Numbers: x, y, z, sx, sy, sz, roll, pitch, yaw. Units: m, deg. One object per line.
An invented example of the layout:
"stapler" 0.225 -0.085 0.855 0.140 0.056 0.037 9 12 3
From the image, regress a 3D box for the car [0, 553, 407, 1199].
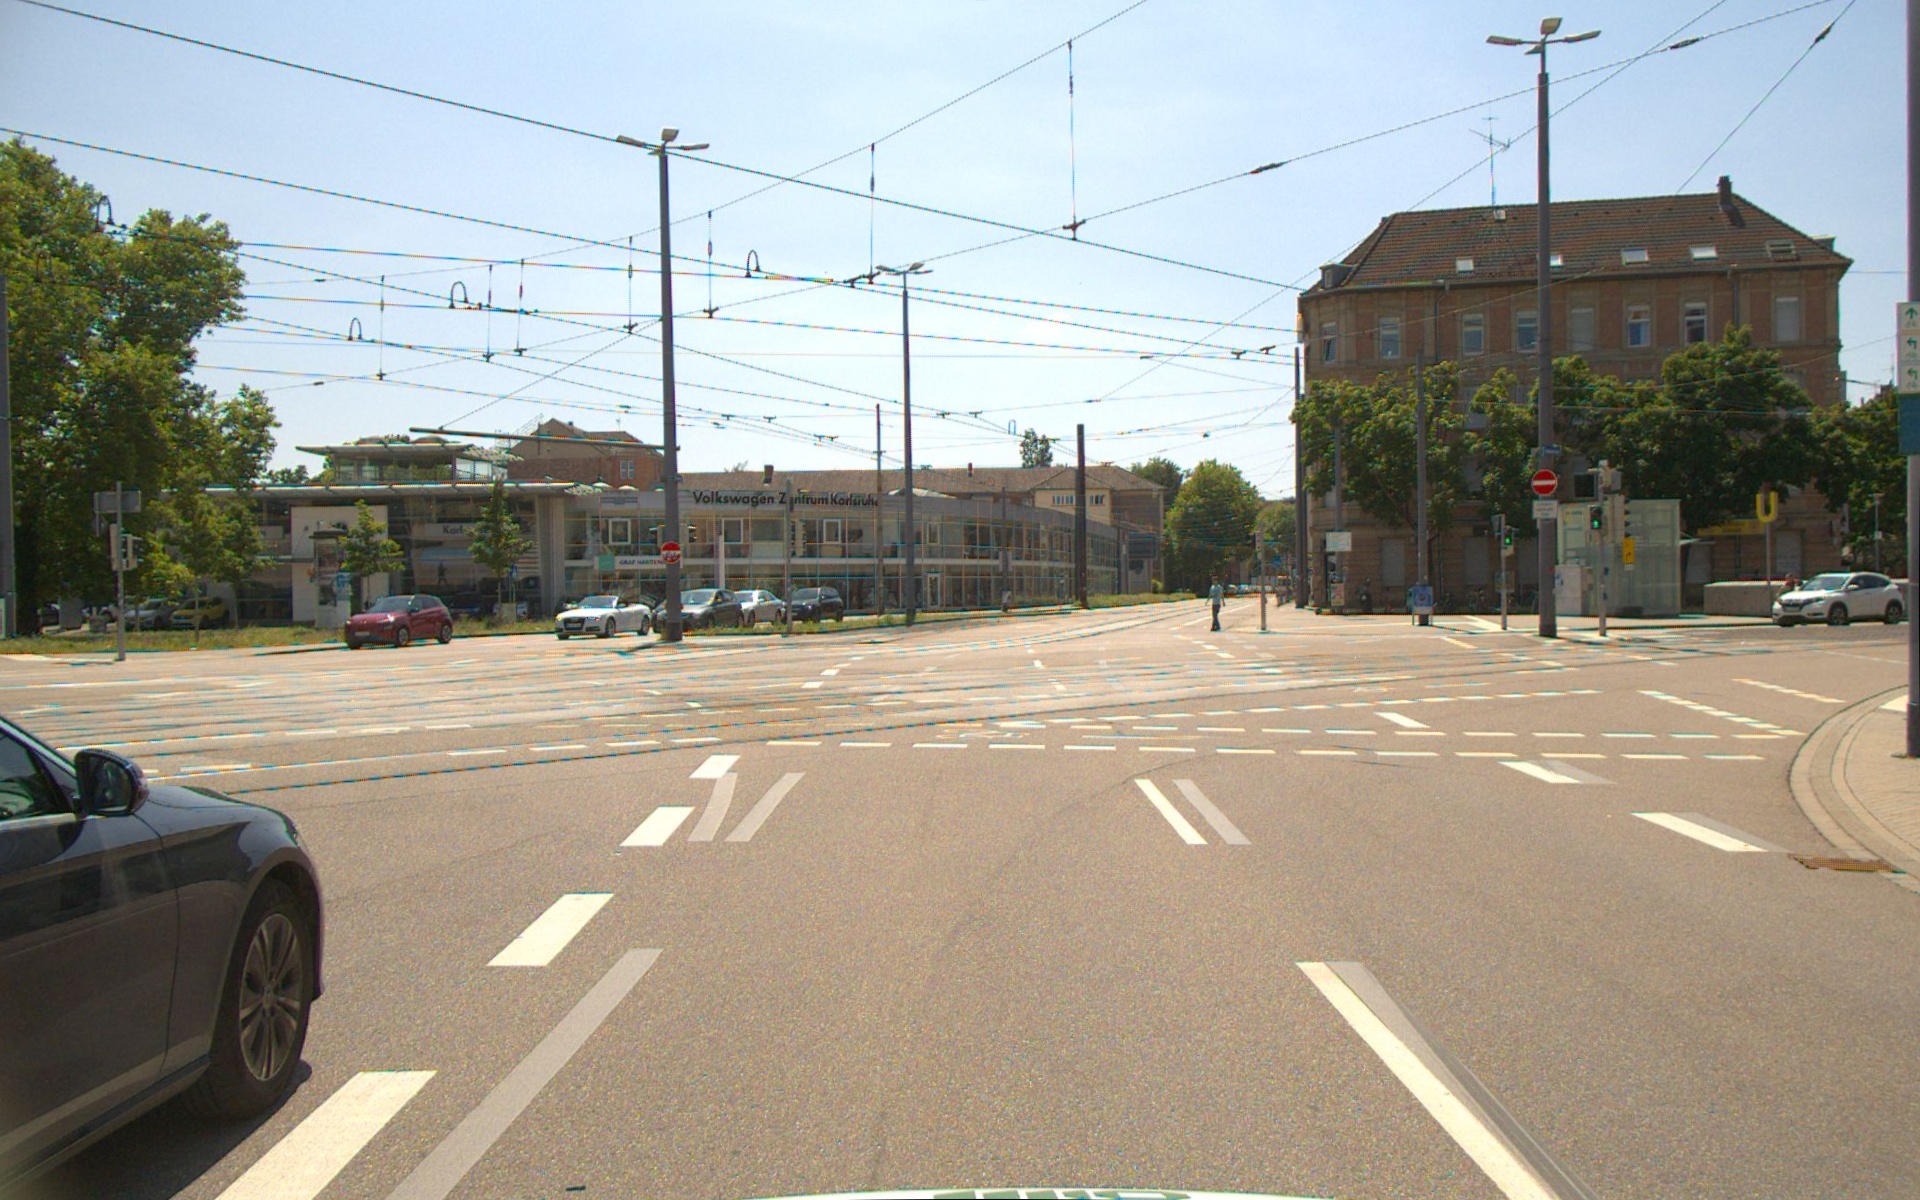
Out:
"car" -2.724 0.734 2.990 1.760 1.669 4.805 1 0 1

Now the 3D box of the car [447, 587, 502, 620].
"car" -26.354 0.198 89.919 1.882 1.737 3.998 1 -1 -2

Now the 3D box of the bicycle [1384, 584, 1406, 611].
"bicycle" 18.620 -0.111 70.823 0.539 1.139 1.821 -1 0 4

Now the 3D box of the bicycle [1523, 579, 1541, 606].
"bicycle" 24.495 -0.329 70.836 0.539 1.139 1.931 -1 0 13

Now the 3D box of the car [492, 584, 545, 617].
"car" -24.042 0.041 90.198 1.882 1.737 3.998 1 -1 -2

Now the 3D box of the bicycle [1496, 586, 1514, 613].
"bicycle" 23.337 -0.028 70.855 0.539 1.139 1.872 -1 0 13

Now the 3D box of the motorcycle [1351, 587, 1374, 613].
"motorcycle" 17.269 0.002 70.961 0.568 1.093 1.946 -1 0 1

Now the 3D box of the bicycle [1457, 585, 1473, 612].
"bicycle" 21.484 -0.064 70.407 0.539 1.139 1.822 -1 0 13

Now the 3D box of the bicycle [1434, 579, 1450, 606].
"bicycle" 20.588 -0.321 70.665 0.539 1.139 1.822 -1 0 13

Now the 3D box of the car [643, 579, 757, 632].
"car" -8.594 0.166 55.147 1.951 1.666 4.850 -1 0 14

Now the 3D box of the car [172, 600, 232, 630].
"car" -41.432 0.809 90.491 1.733 1.536 4.320 -1 0 -7

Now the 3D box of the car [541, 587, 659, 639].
"car" -11.831 0.383 54.703 2.032 1.607 4.850 -1 0 11

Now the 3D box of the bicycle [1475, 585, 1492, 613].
"bicycle" 22.286 -0.051 70.432 0.539 1.139 1.891 -1 0 13

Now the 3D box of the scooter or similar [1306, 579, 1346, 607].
"scooter or similar" 16.304 -0.324 73.682 1.767 1.202 0.594 -1 0 -29

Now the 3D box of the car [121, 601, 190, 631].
"car" -44.054 0.852 90.669 1.731 1.536 4.325 -1 0 -2

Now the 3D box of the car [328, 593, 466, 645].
"car" -17.540 0.568 51.802 1.951 1.491 4.850 -1 0 11

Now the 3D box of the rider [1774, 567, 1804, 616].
"rider" 27.819 -0.299 55.492 0.865 1.629 0.558 -1 0 -34

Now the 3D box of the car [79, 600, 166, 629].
"car" -48.471 0.825 95.760 4.282 1.536 1.749 -1 0 -38

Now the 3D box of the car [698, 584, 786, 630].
"car" -8.779 0.251 66.917 1.951 1.770 4.547 -1 0 14

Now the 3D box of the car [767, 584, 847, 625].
"car" -6.774 0.165 73.871 2.034 1.712 4.850 -1 0 14

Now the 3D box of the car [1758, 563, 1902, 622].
"car" 25.484 -0.242 48.430 4.129 1.633 1.680 -1 0 -27

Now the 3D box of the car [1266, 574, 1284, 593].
"car" 37.974 -1.977 199.366 1.951 2.219 4.372 1 -1 12

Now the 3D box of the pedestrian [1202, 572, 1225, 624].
"pedestrian" 8.492 -0.077 55.350 0.456 1.738 0.634 -1 0 -29
